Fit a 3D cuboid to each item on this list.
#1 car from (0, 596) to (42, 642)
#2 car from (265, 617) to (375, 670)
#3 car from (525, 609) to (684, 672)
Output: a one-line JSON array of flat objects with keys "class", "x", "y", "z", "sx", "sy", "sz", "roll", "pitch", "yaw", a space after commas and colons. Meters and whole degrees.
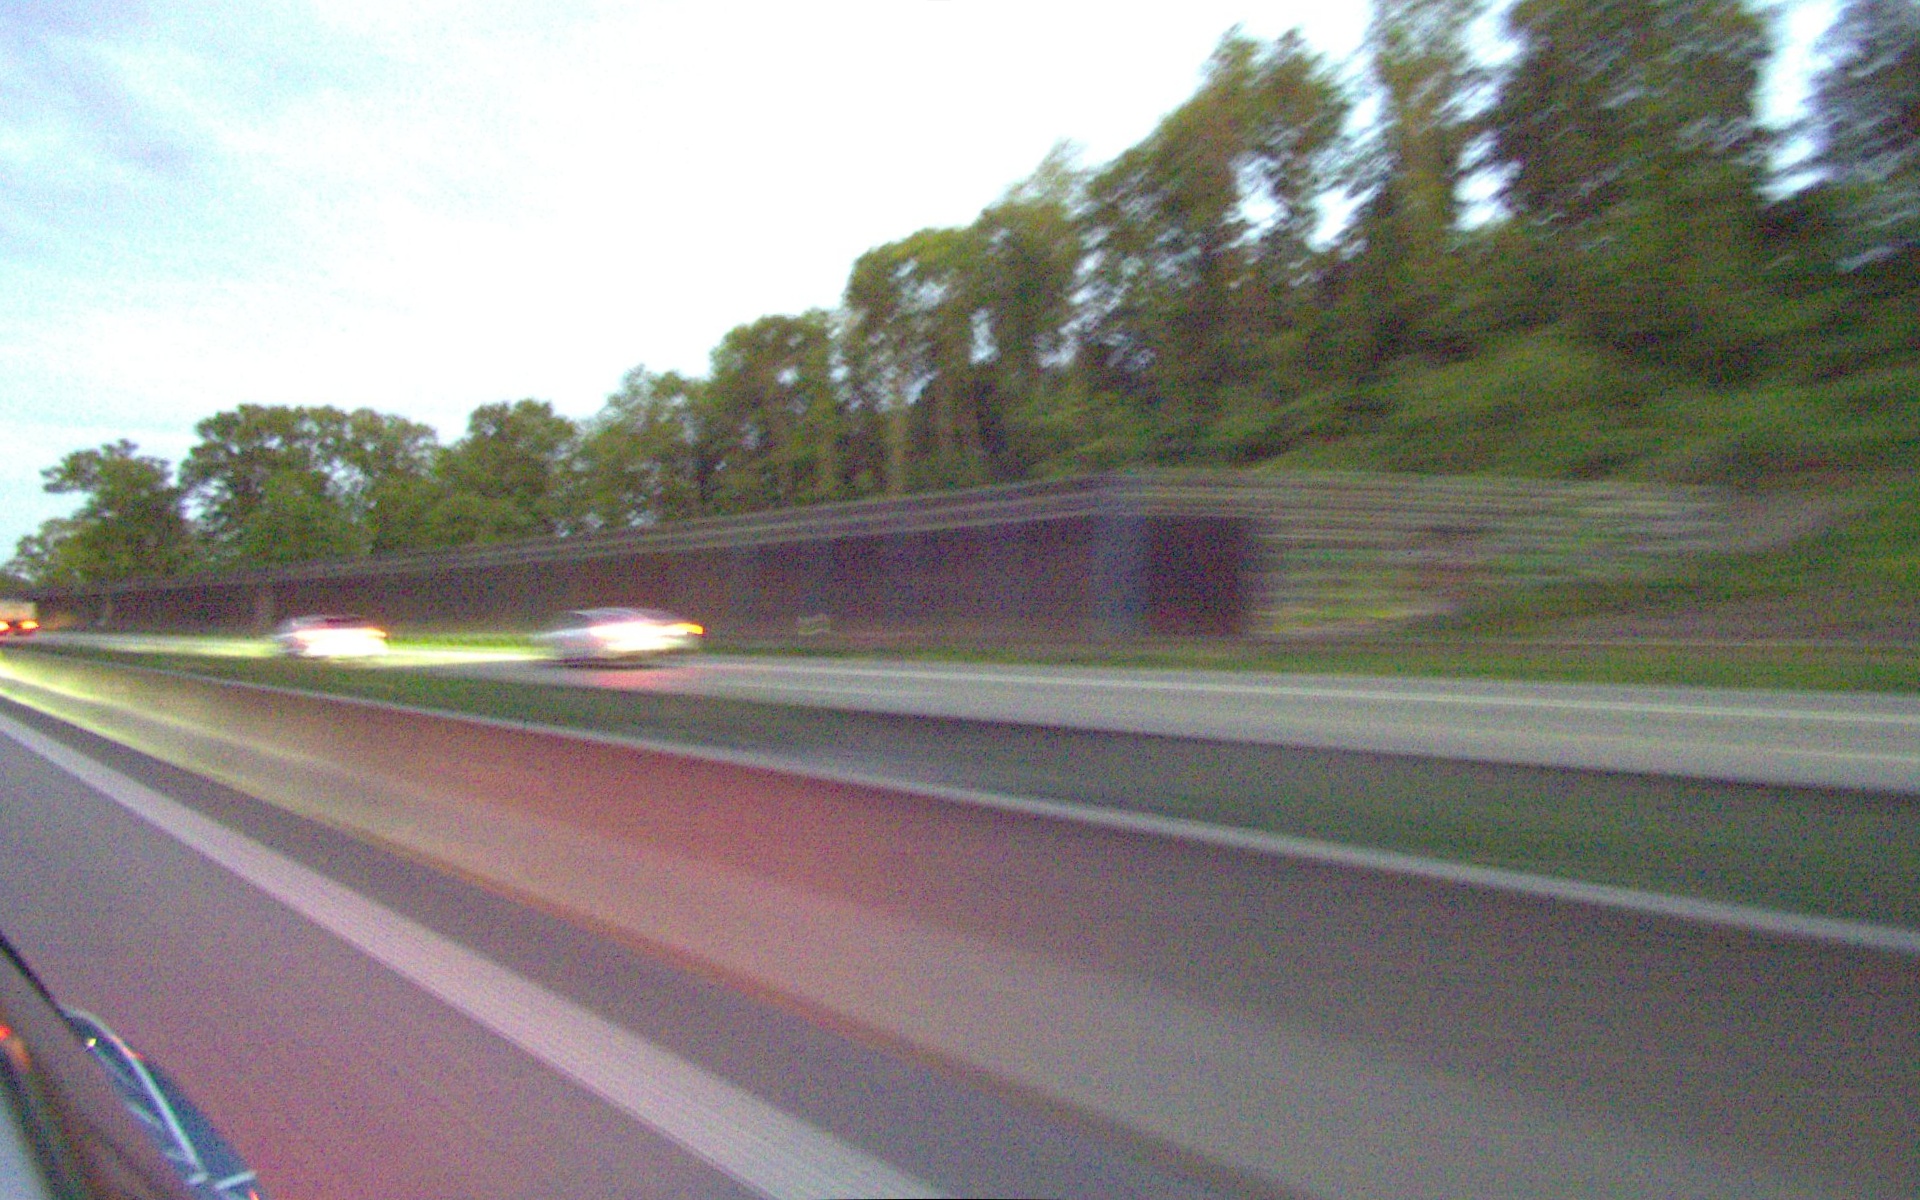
[{"class": "car", "x": -86.229, "y": 1.722, "z": 91.631, "sx": 8.591, "sy": 3.999, "sz": 3.105, "roll": -2, "pitch": -1, "yaw": 38}, {"class": "car", "x": -20.390, "y": 1.361, "z": 32.186, "sx": 4.334, "sy": 1.568, "sz": 1.800, "roll": -2, "pitch": -2, "yaw": 41}, {"class": "car", "x": -9.906, "y": 1.093, "z": 27.994, "sx": 5.092, "sy": 1.572, "sz": 1.867, "roll": -2, "pitch": -1, "yaw": 41}]
